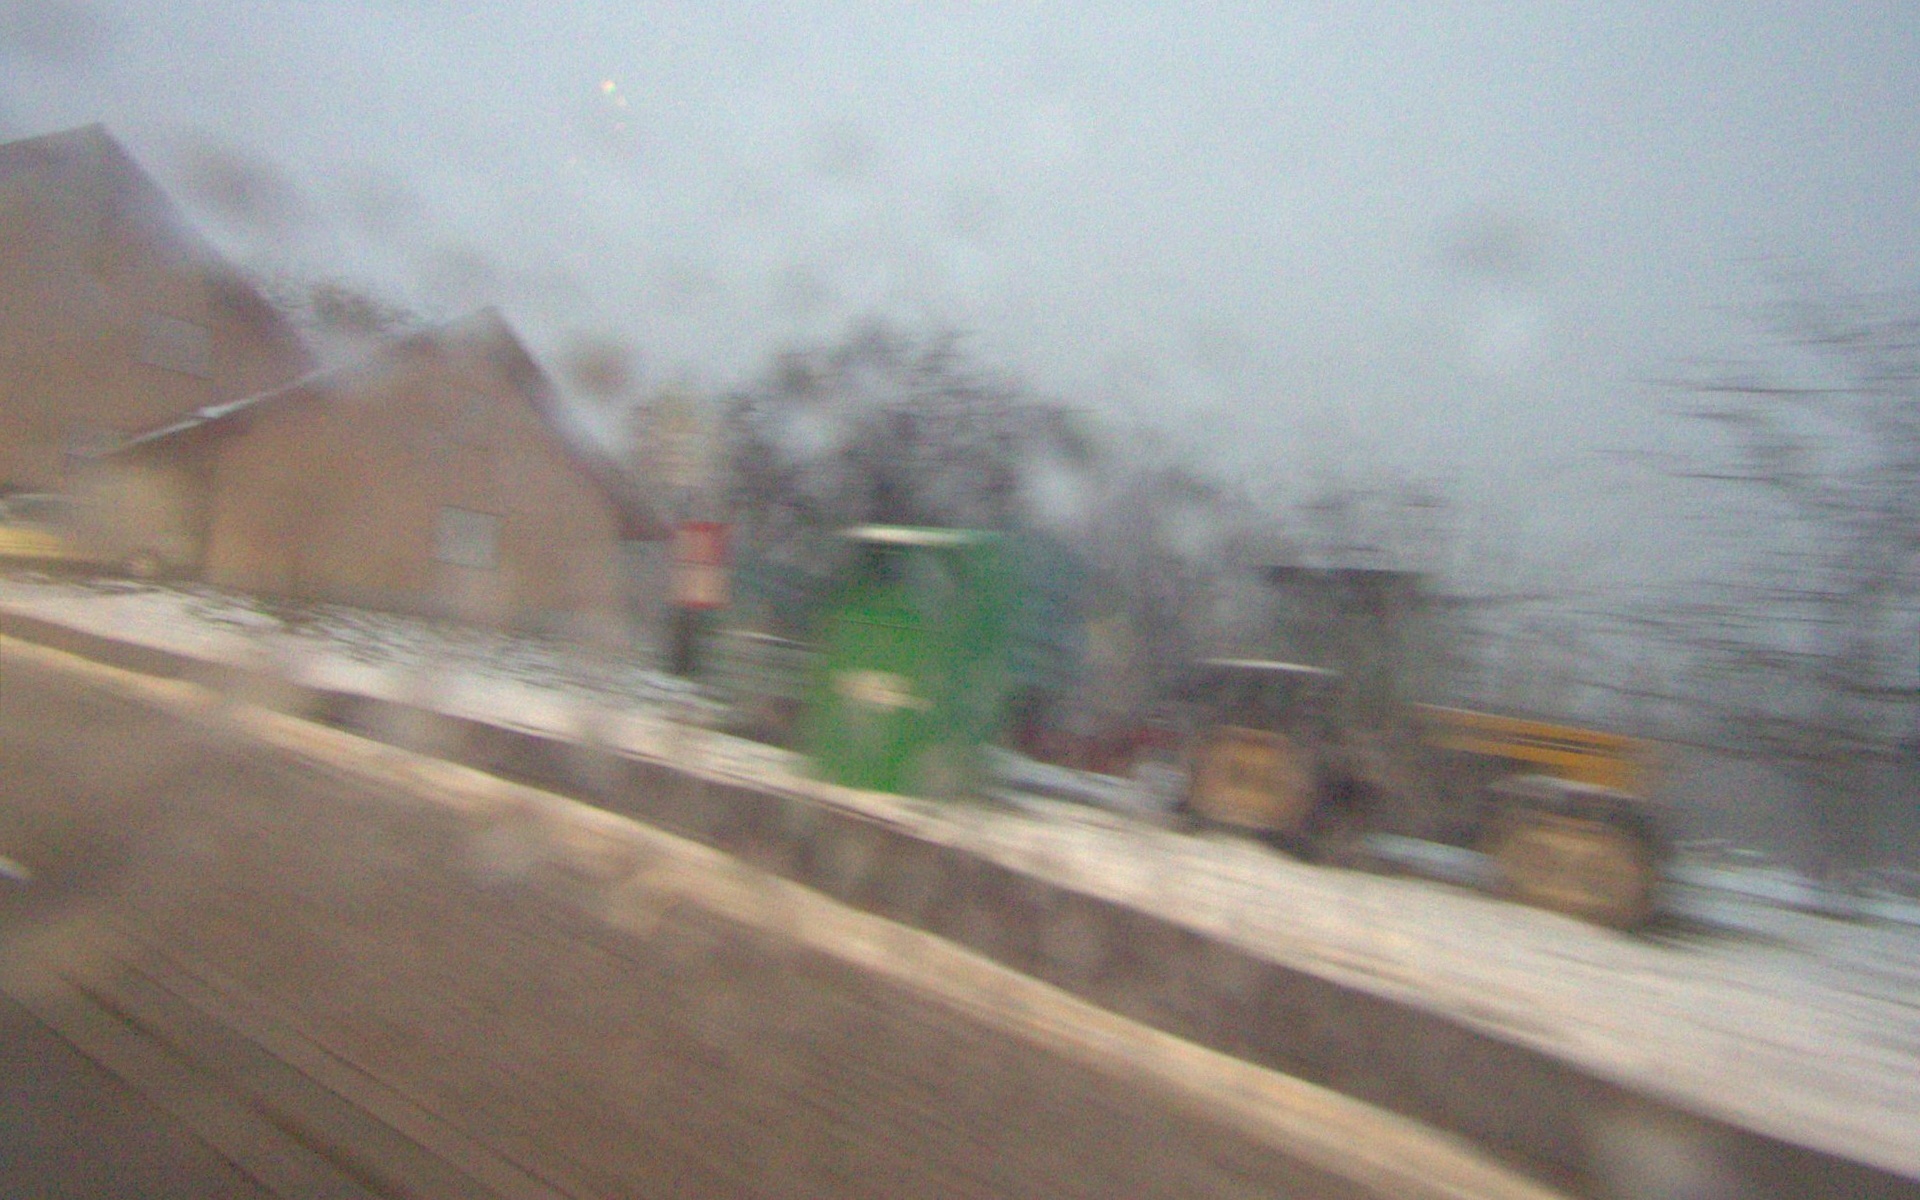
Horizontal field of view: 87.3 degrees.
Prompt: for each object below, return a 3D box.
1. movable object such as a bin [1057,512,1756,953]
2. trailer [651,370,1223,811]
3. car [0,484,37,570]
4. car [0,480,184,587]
[{"bbox_3d":[3.423,0.776,8.120,4.448,2.496,2.388,5,-3,37],"label":"movable object such as a bin"},{"bbox_3d":[-0.246,-0.130,10.691,4.978,3.601,2.881,5,-2,31],"label":"trailer"},{"bbox_3d":[-19.943,-1.577,18.383,1.917,1.577,4.160,3,-3,35],"label":"car"},{"bbox_3d":[-16.772,-1.239,17.956,1.973,1.577,4.238,3,-3,40],"label":"car"}]
